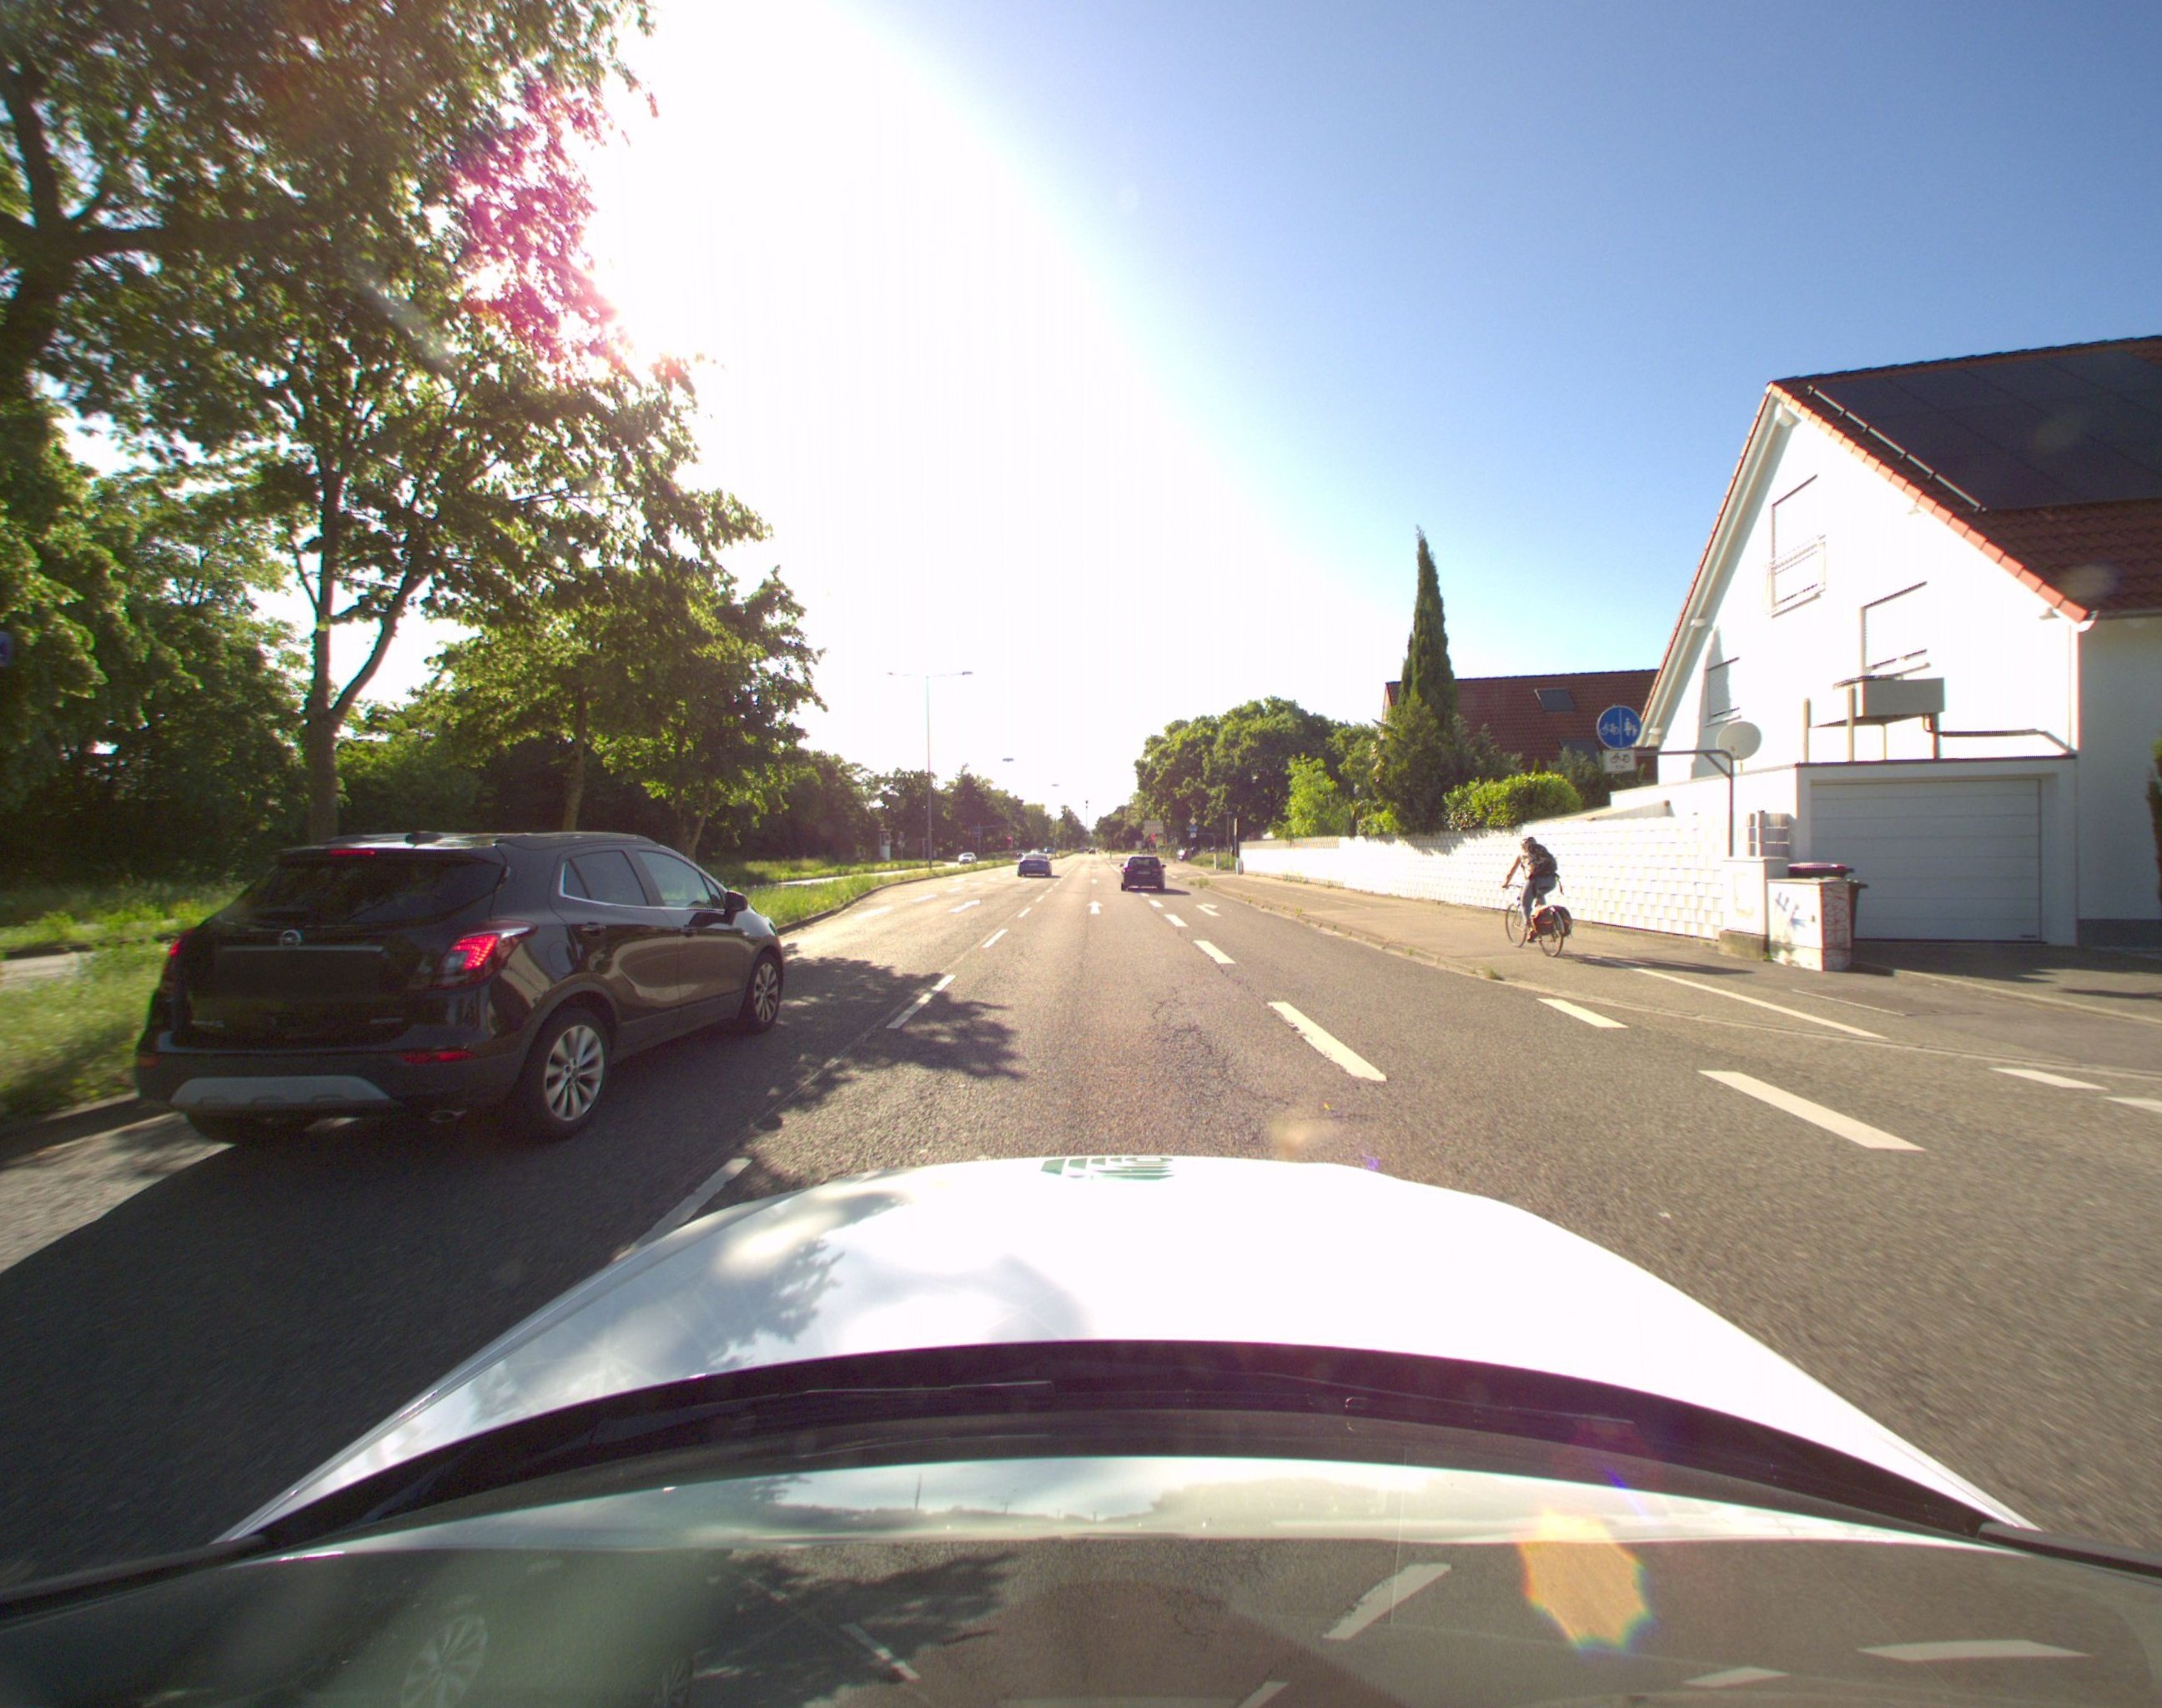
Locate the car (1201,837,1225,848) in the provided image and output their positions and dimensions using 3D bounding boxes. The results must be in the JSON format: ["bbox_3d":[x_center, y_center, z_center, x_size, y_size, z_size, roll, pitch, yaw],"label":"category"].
[{"bbox_3d":[22.549,-1.939,138.748,3.730,1.685,1.690,2,0,-26],"label":"car"}]

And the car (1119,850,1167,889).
[{"bbox_3d":[2.502,0.582,33.697,1.749,1.509,3.809,0,0,1],"label":"car"}]

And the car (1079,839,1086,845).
[{"bbox_3d":[0.422,-3.477,236.748,1.819,1.615,3.839,-1,1,-1],"label":"car"}]

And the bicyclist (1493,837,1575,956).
[{"bbox_3d":[6.599,0.591,11.907,0.627,1.632,0.983,-3,1,3],"label":"bicyclist"}]

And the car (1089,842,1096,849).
[{"bbox_3d":[2.936,-2.207,207.233,1.726,1.585,3.841,2,0,1],"label":"car"}]

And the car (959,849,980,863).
[{"bbox_3d":[-13.922,0.249,101.816,1.905,1.703,4.409,2,0,1],"label":"car"}]

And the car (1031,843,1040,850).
[{"bbox_3d":[-12.045,-1.909,214.955,1.857,1.684,4.001,1,0,1],"label":"car"}]

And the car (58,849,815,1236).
[{"bbox_3d":[-3.470,0.790,5.680,1.690,1.632,4.419,0,1,1],"label":"car"}]

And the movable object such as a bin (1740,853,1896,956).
[{"bbox_3d":[9.190,0.606,10.215,0.996,1.205,1.065,-2,0,8],"label":"movable object such as a bin"}]

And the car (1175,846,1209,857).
[{"bbox_3d":[14.156,-0.324,103.834,3.838,1.459,1.728,0,1,-18],"label":"car"}]

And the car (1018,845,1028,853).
[{"bbox_3d":[-12.579,-0.995,176.486,1.857,1.684,4.261,2,0,1],"label":"car"}]

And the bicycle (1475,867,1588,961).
[{"bbox_3d":[6.618,0.835,12.099,0.571,1.155,2.143,-3,1,4],"label":"bicycle"}]

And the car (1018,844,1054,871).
[{"bbox_3d":[-2.675,0.199,49.339,1.882,1.552,4.001,0,0,1],"label":"car"}]

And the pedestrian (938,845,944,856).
[{"bbox_3d":[-22.683,-0.544,131.798,0.842,1.834,0.550,0,4,4],"label":"pedestrian"}]
